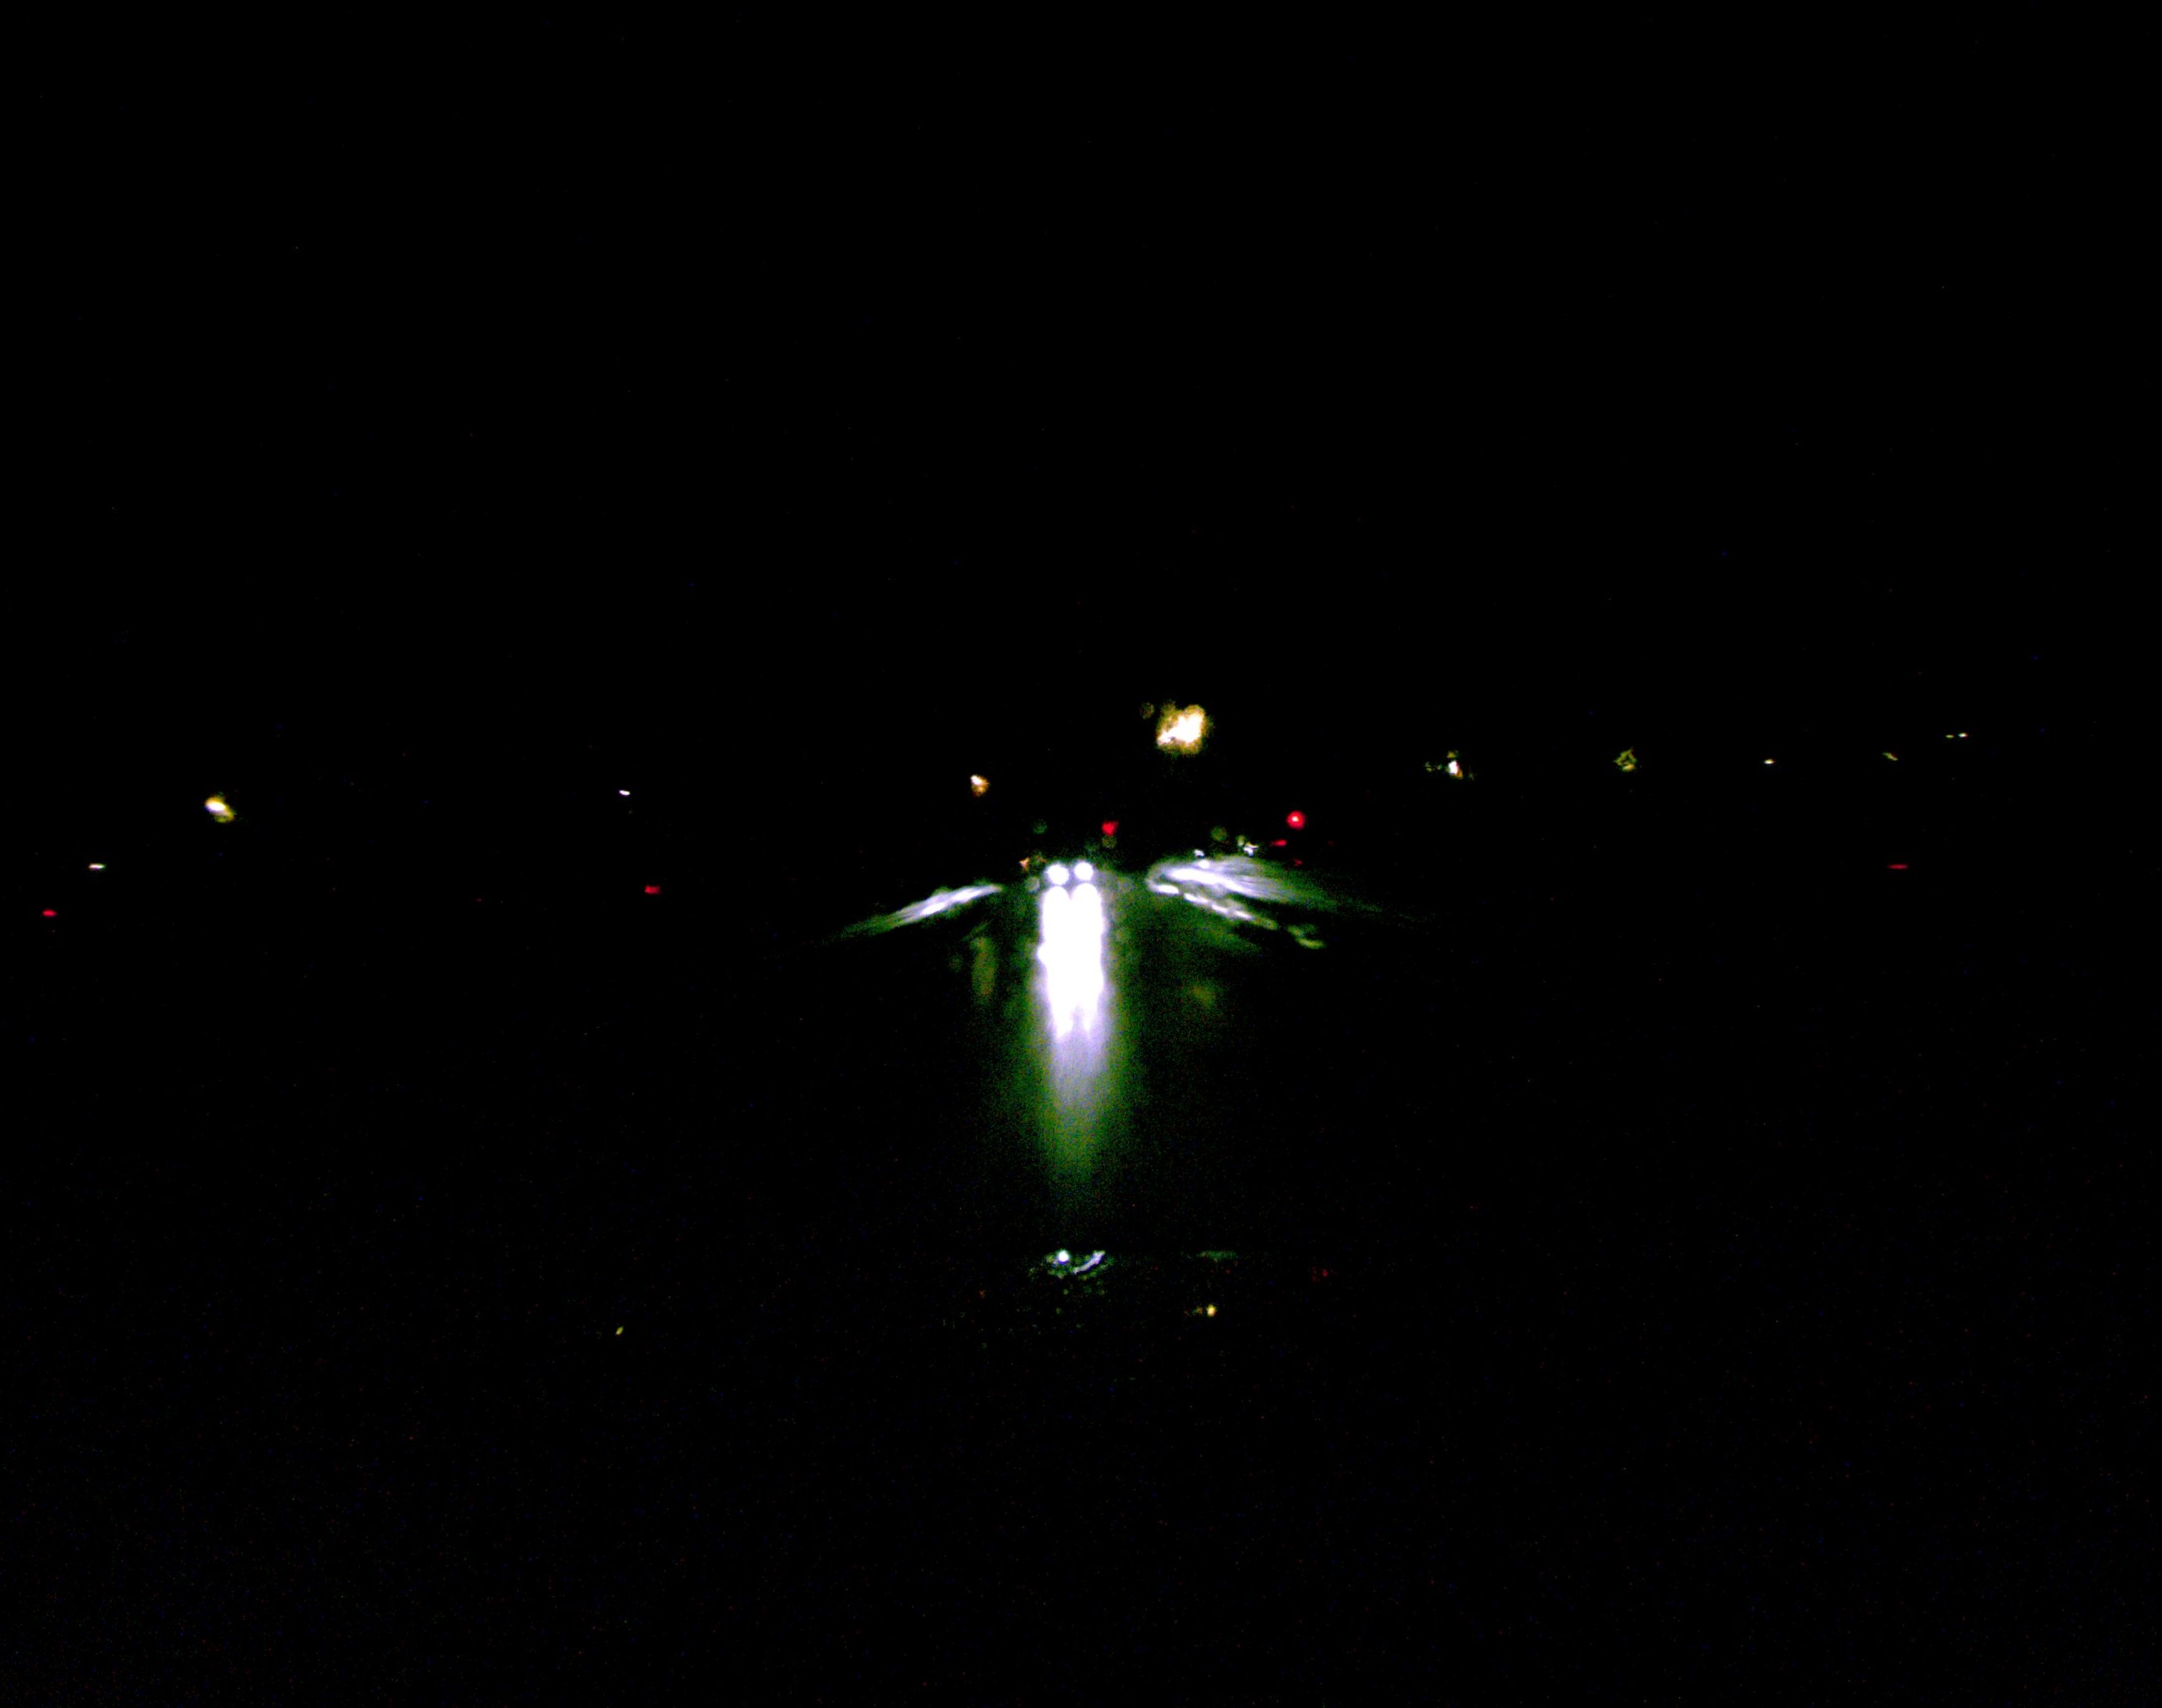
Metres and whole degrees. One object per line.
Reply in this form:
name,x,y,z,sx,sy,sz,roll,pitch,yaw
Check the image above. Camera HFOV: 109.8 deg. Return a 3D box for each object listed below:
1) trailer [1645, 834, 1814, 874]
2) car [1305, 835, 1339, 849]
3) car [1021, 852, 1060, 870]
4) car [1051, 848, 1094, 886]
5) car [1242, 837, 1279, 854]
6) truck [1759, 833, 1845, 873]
trailer,68.373,0.167,80.786,2.603,3.703,13.626,-4,1,-26
car,32.371,-1.622,102.052,4.002,1.432,1.717,-4,-1,-17
car,-4.535,0.787,85.354,4.002,1.784,1.997,-1,2,-14
car,-0.490,0.655,39.543,1.999,1.737,4.099,-4,0,-2
car,22.555,-1.034,95.513,4.001,1.783,1.998,-4,1,-14
truck,71.151,-0.040,75.118,2.599,3.690,5.447,-4,1,-26
